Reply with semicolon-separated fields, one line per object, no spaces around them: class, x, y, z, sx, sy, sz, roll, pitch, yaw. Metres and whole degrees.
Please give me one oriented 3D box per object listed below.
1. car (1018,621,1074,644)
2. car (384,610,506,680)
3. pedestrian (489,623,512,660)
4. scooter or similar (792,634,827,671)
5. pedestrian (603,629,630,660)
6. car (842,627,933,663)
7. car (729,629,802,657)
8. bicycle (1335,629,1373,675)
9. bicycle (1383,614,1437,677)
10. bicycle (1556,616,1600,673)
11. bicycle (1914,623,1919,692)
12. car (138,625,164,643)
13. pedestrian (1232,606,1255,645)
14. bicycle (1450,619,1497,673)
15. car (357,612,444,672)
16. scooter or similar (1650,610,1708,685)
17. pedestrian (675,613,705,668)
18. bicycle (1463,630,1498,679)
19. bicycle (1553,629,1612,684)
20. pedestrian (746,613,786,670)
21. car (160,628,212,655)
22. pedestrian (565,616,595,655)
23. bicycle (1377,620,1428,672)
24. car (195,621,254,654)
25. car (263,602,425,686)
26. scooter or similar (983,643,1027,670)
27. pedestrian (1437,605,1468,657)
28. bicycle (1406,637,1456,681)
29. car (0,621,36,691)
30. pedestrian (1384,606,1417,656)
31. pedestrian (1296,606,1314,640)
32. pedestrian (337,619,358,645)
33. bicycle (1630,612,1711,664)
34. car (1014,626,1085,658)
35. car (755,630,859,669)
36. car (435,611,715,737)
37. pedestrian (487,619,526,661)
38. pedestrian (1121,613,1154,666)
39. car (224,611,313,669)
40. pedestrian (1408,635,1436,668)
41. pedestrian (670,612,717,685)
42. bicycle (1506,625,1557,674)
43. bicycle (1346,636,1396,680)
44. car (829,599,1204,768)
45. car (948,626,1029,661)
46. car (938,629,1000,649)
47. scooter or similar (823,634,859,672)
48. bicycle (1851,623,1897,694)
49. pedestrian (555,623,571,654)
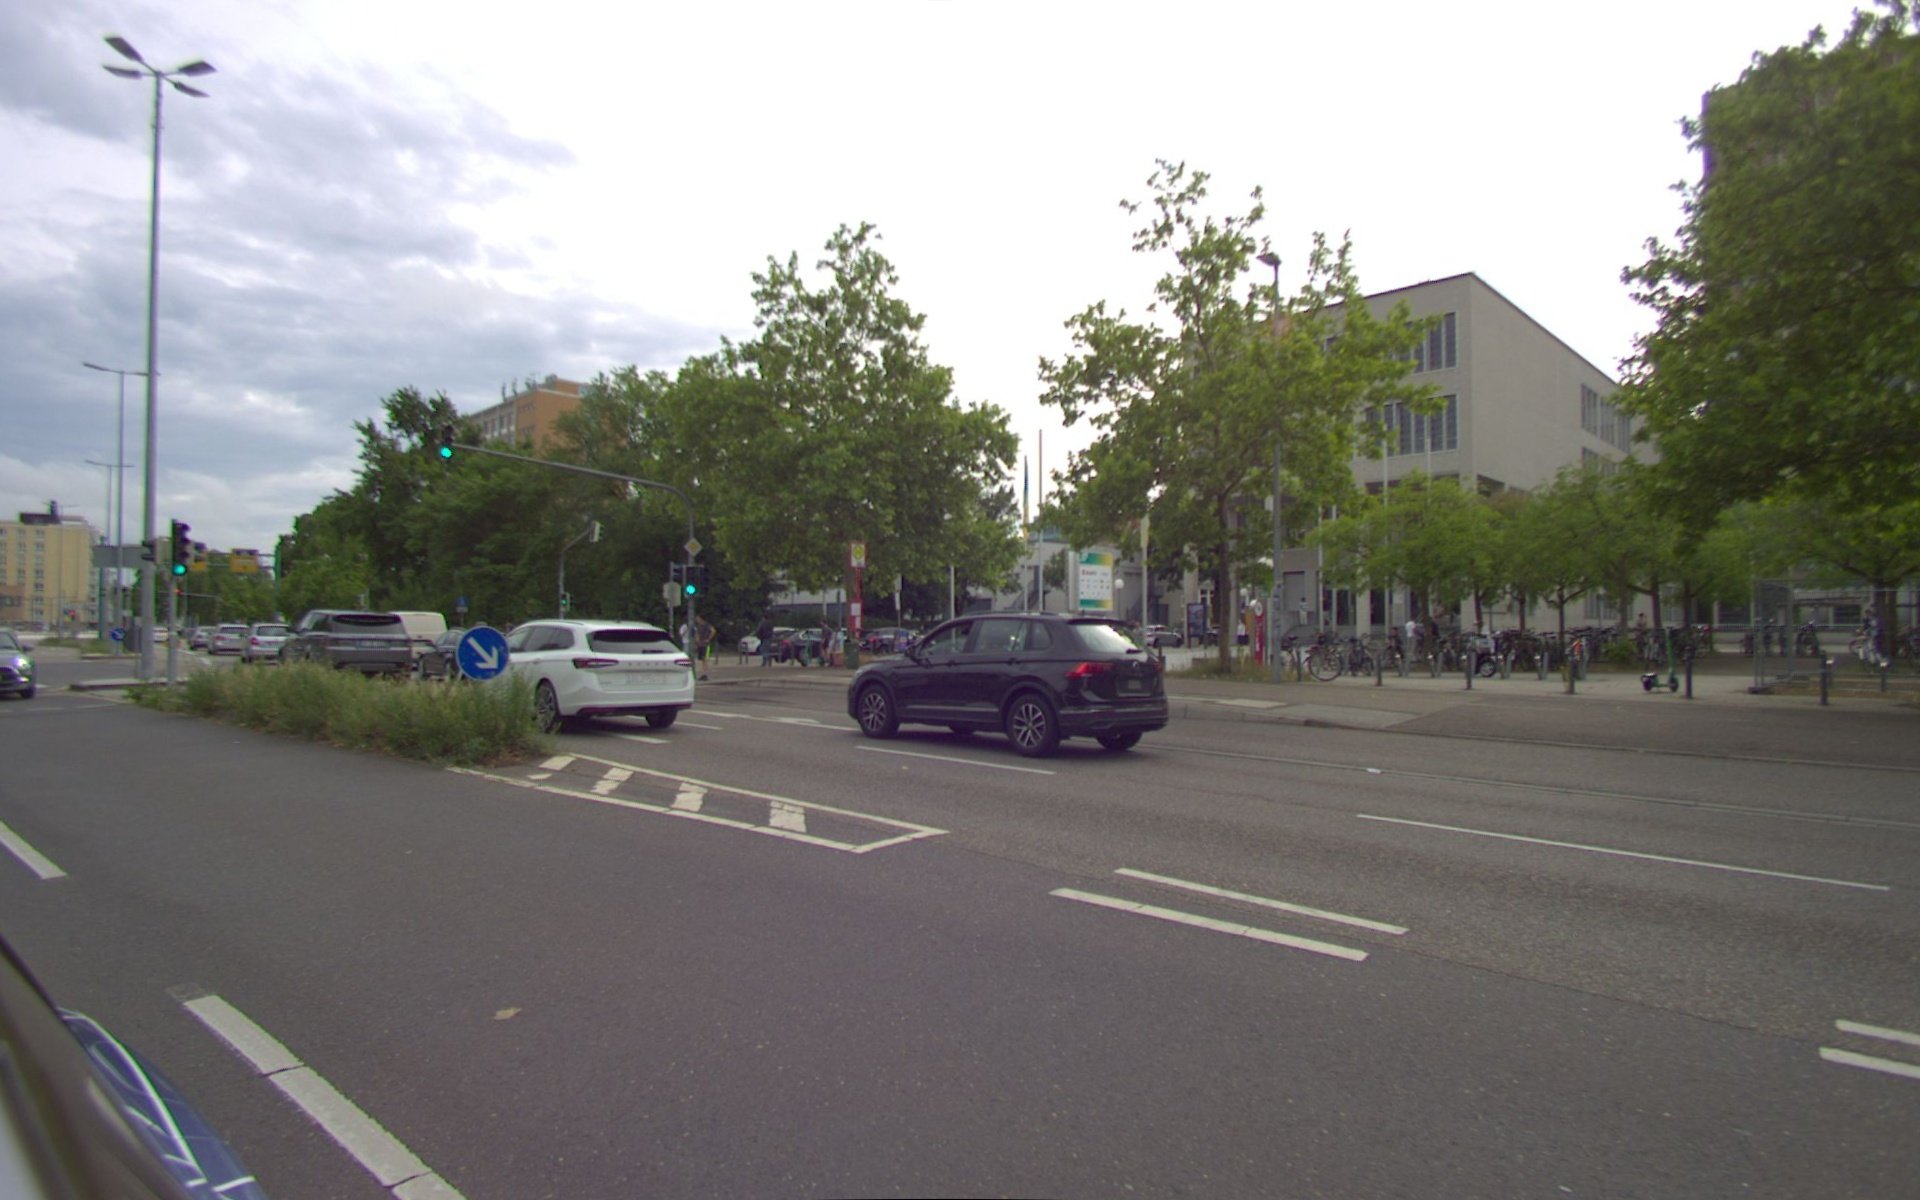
car;6.233;2.342;73.078;3.940;1.552;2.002;2;-2;-44
car;-13.550;1.155;26.520;4.002;1.702;1.679;-2;-3;45
pedestrian;-21.869;1.966;48.135;0.582;1.707;0.653;13;-10;-41
scooter or similar;-4.784;1.651;32.127;0.356;1.149;1.320;2;-3;-45
pedestrian;-16.247;2.114;47.853;0.992;1.439;0.696;-2;-1;17
car;-3.314;2.065;46.989;1.999;1.483;3.945;-2;-1;41
car;-10.701;2.347;55.866;1.863;1.461;3.544;-2;-1;44
bicycle;10.364;1.343;26.586;0.718;1.162;2.017;-1;-2;27
bicycle;11.700;1.167;26.258;0.897;1.571;2.174;-1;-2;34
bicycle;17.585;1.247;28.780;0.920;1.571;2.423;-1;-2;34
bicycle;22.763;1.346;23.502;0.721;1.606;2.374;-2;-3;41
car;-82.752;3.456;103.531;1.865;1.786;4.005;-1;0;-42
pedestrian;15.183;1.370;54.149;1.033;2.029;0.788;-1;-2;28
bicycle;15.470;1.369;30.478;0.920;1.571;2.636;-1;-2;34
car;-19.021;1.371;34.299;1.749;1.862;4.496;-1;-1;-40
scooter or similar;12.577;0.823;17.692;0.566;1.253;1.556;-2;-3;45
pedestrian;-10.298;1.528;38.611;0.850;2.074;0.661;1;-1;32
bicycle;12.926;1.324;25.170;0.718;1.153;2.309;-1;-2;27
bicycle;14.249;1.254;23.129;0.721;1.183;2.717;-2;-3;41
pedestrian;-6.334;1.349;33.056;0.935;1.817;0.885;-2;-3;41
car;-46.176;2.432;60.346;1.970;1.541;4.277;2;-3;-44
pedestrian;-20.012;1.868;53.307;1.090;2.029;1.037;-2;-1;14
bicycle;13.795;1.413;31.508;0.780;1.571;2.632;-2;-2;39
car;-37.304;1.926;51.267;1.933;1.596;4.260;2;-3;-42
car;-14.207;0.966;23.209;4.948;1.700;1.971;-2;-1;44
scooter or similar;1.231;1.555;27.889;0.402;0.699;1.290;-1;-1;-42
pedestrian;19.721;1.240;40.514;0.883;2.029;0.797;2;-3;-38
bicycle;14.358;1.775;30.807;0.721;1.279;2.508;-2;-3;41
car;-19.807;1.100;20.419;1.601;1.328;3.710;2;-3;-41
pedestrian;18.141;1.275;41.698;0.782;2.029;0.992;1;-2;-17
pedestrian;20.707;1.374;60.762;0.943;2.029;0.788;-1;-2;28
pedestrian;-39.536;2.038;65.285;0.976;1.637;0.814;-1;-1;-44
bicycle;22.031;1.174;31.370;2.621;1.571;0.925;1;-2;-28
car;4.952;2.305;55.800;1.854;1.696;3.943;-2;-3;43
car;-6.515;2.082;43.475;1.999;1.483;4.099;-2;-1;41
car;-5.658;0.947;14.494;4.913;1.476;1.882;-2;-1;45
pedestrian;-22.903;2.022;51.150;1.345;2.029;1.174;-2;-1;25
pedestrian;6.807;1.509;38.816;1.092;2.029;0.788;-1;-2;28
car;-25.651;1.448;37.486;4.002;2.029;1.971;-2;-3;45
pedestrian;20.117;2.239;44.042;0.883;1.429;0.797;2;-3;-38
pedestrian;-7.587;1.362;28.774;1.009;2.029;0.884;-2;-3;43
bicycle;16.459;1.394;29.121;0.721;1.339;2.788;-2;-3;41
bicycle;13.089;1.818;32.209;0.721;1.364;2.458;-2;-3;41
car;0.538;0.915;12.543;4.470;1.707;1.971;-2;-3;45
car;1.490;2.222;52.001;2.000;1.591;3.943;-2;-1;43
car;0.626;2.578;67.673;2.000;1.296;3.943;-2;-2;43
scooter or similar;-3.658;1.614;30.959;0.356;1.149;1.320;2;-3;-45
bicycle;21.837;1.375;24.220;0.721;1.606;2.374;-2;-3;41
pedestrian;-20.943;2.021;53.378;0.601;1.619;0.497;-1;-2;34
